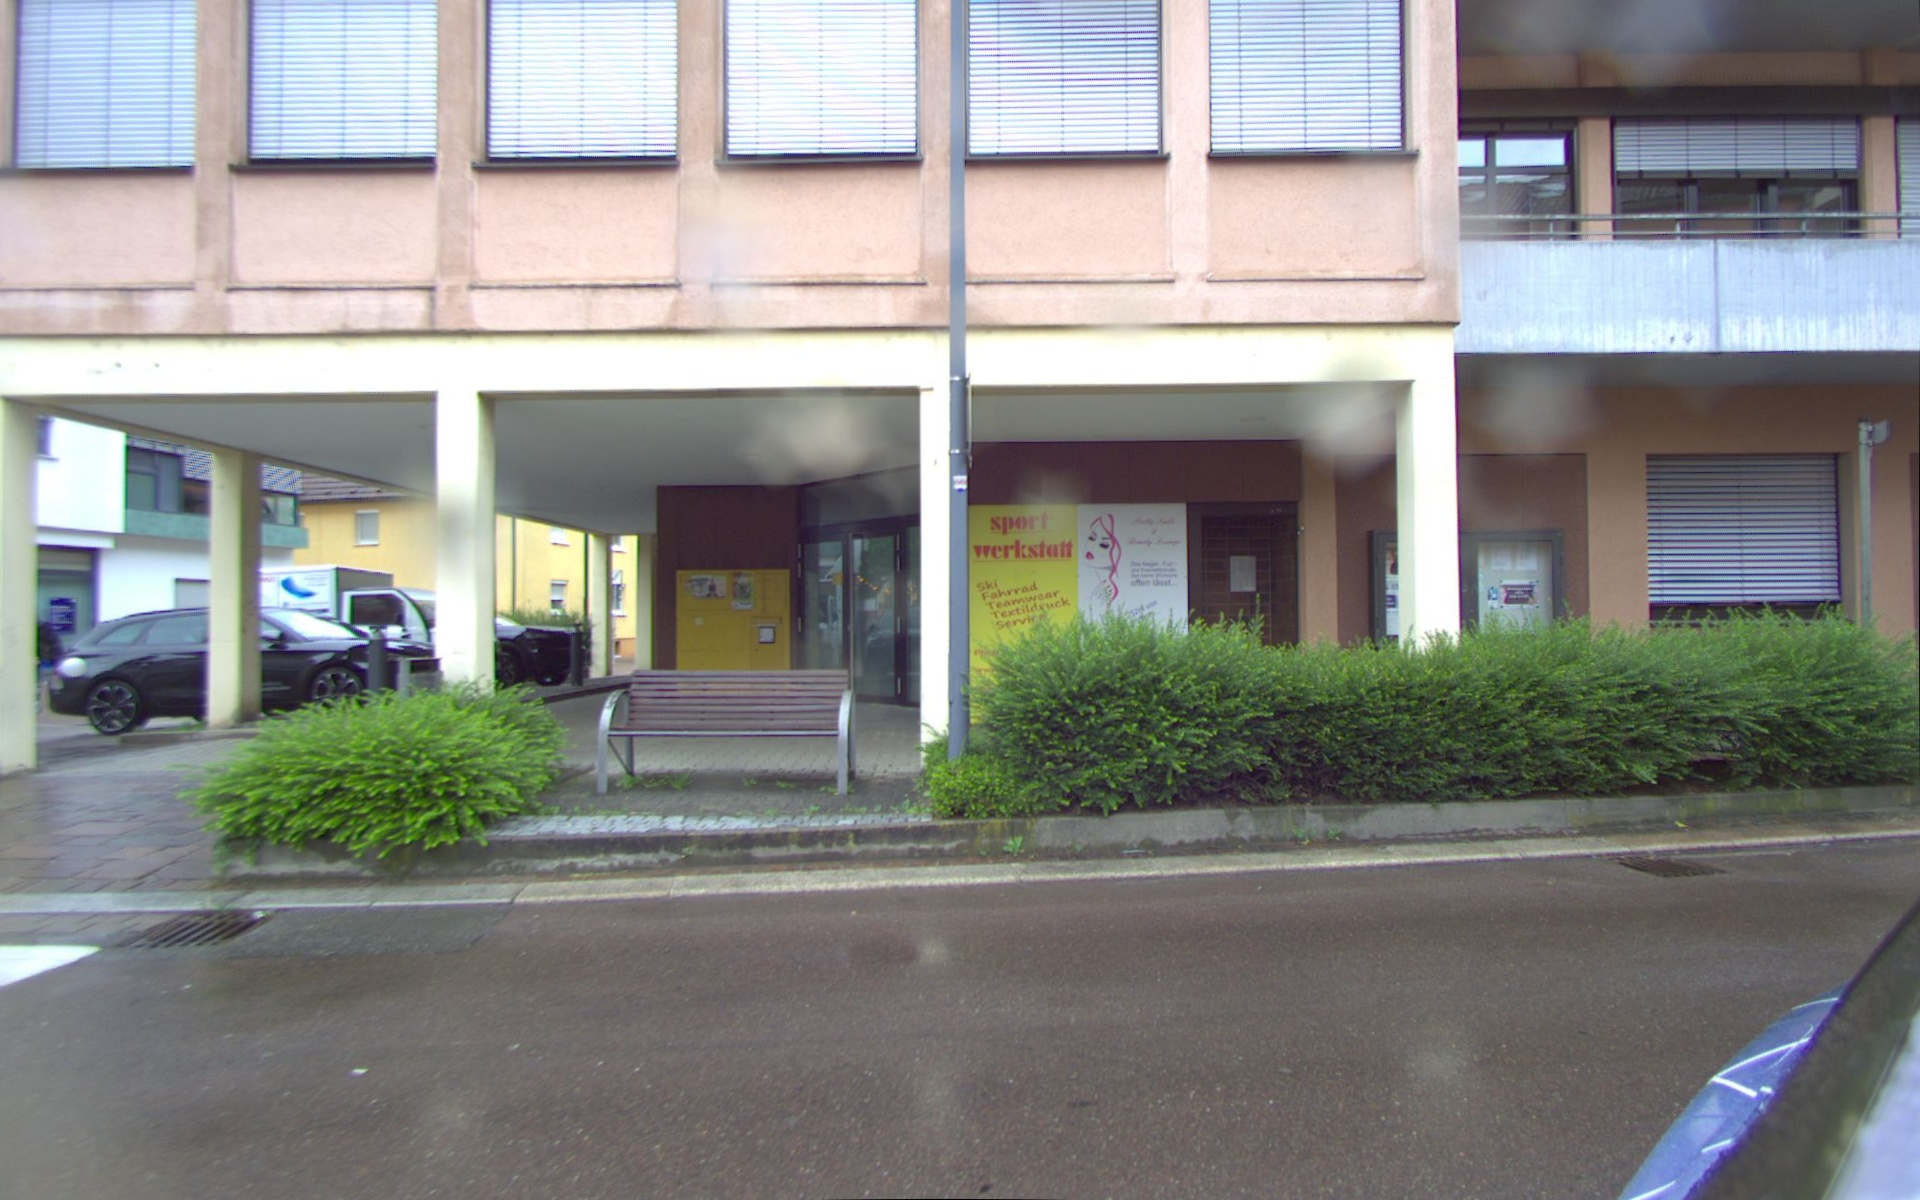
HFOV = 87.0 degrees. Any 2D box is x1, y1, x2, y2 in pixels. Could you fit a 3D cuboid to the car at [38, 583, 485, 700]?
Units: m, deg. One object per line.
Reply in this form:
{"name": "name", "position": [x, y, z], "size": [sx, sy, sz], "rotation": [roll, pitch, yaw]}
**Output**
{"name": "car", "position": [-8.481, 0.481, 12.541], "size": [4.389, 1.292, 1.767], "rotation": [-1, 0, 2]}

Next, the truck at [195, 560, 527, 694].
{"name": "truck", "position": [-8.797, 0.377, 15.105], "size": [3.924, 1.831, 1.768], "rotation": [-1, 0, 0]}

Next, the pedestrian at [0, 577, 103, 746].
{"name": "pedestrian", "position": [-9.690, 0.624, 10.655], "size": [0.719, 1.711, 0.725], "rotation": [-1, -1, -2]}

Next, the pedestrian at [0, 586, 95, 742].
{"name": "pedestrian", "position": [-10.337, 0.688, 11.237], "size": [0.729, 1.660, 0.956], "rotation": [-1, -1, 32]}
